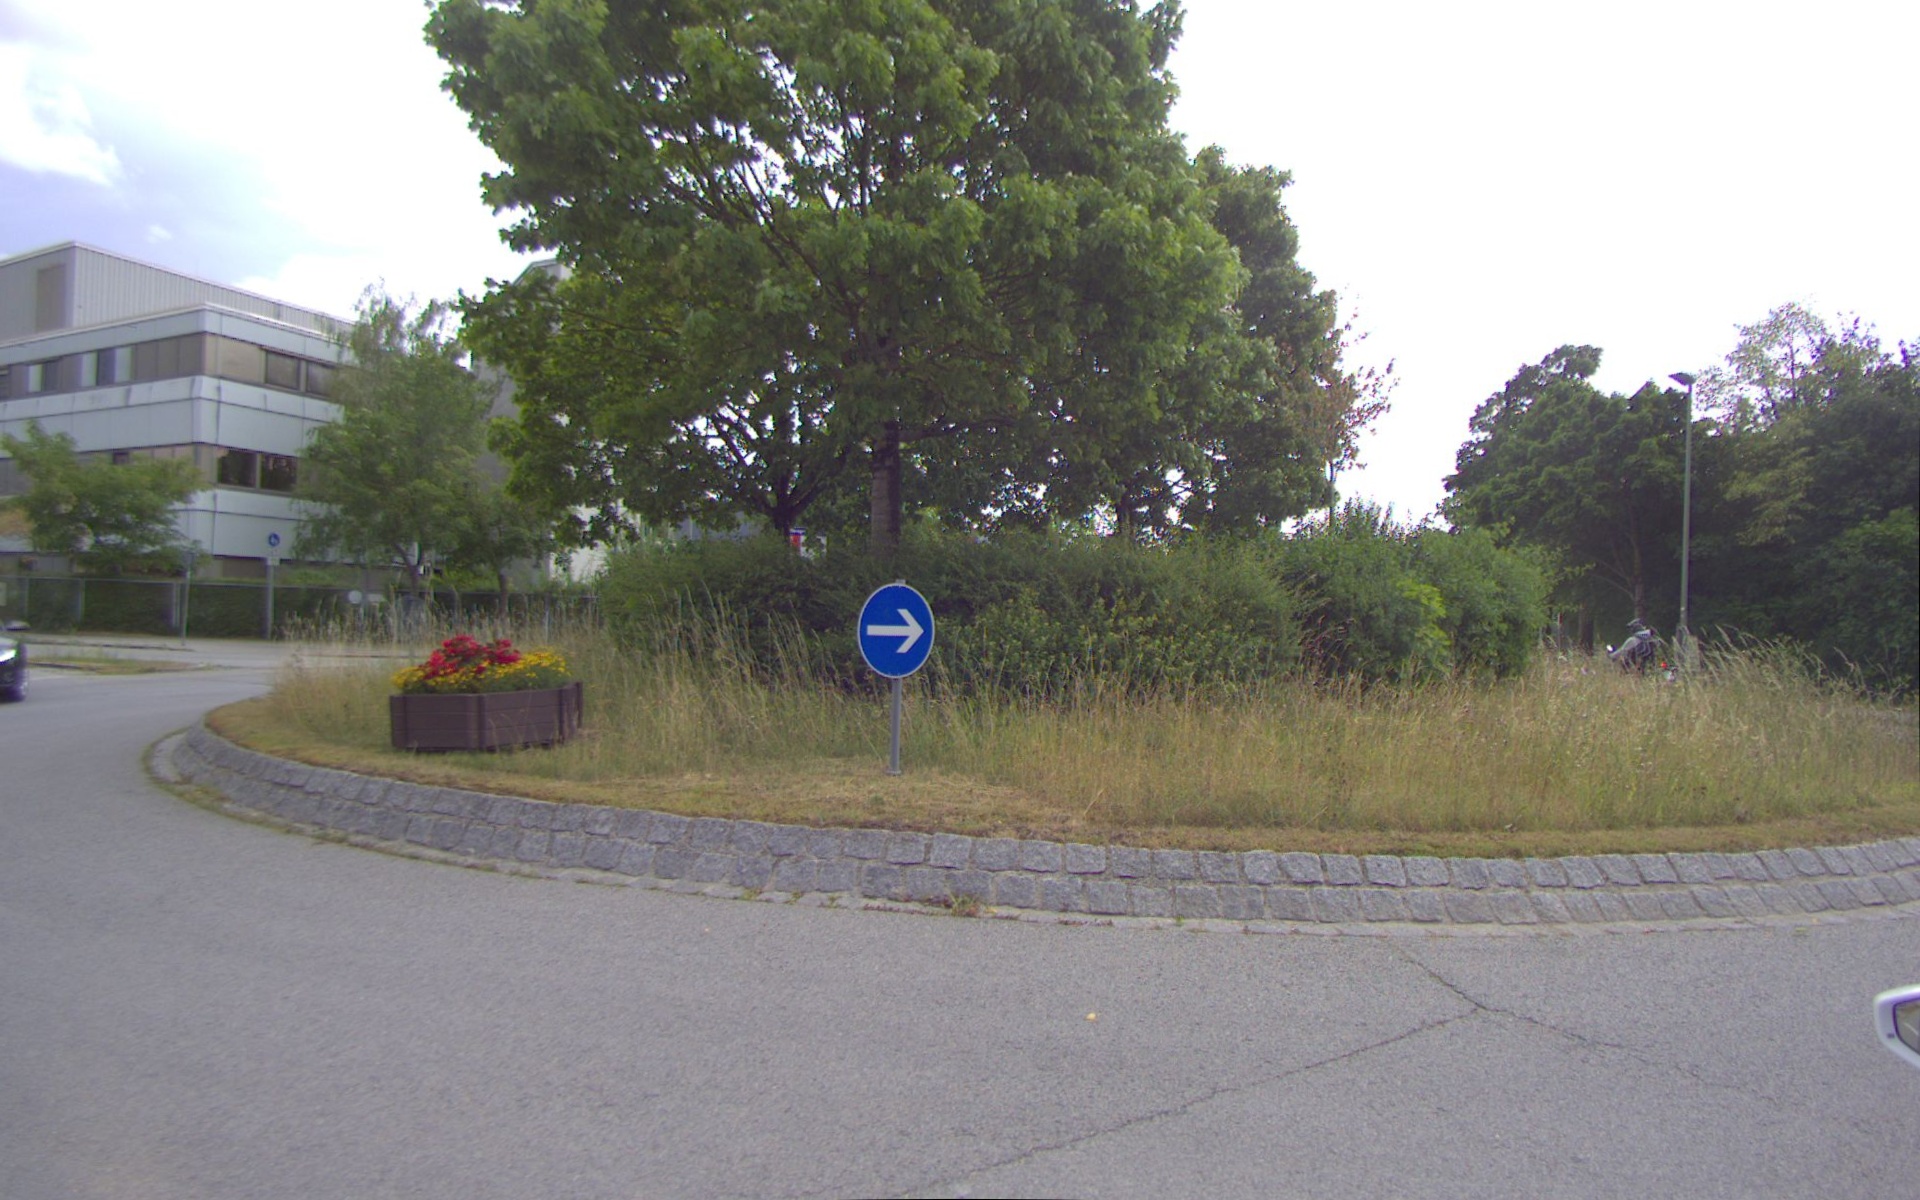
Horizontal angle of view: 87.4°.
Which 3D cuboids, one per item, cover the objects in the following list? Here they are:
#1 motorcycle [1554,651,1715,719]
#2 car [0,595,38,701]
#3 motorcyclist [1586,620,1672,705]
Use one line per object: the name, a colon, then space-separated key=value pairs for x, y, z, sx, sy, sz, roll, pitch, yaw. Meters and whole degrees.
motorcycle: x=13.660 y=1.683 z=20.446 sx=0.888 sy=1.173 sz=2.602 roll=2 pitch=-1 yaw=-27
car: x=-14.446 y=0.607 z=14.021 sx=4.406 sy=1.365 sz=1.926 roll=0 pitch=-1 yaw=42
motorcyclist: x=13.623 y=1.257 z=20.479 sx=0.853 sy=1.645 sz=1.182 roll=2 pitch=-1 yaw=-27
